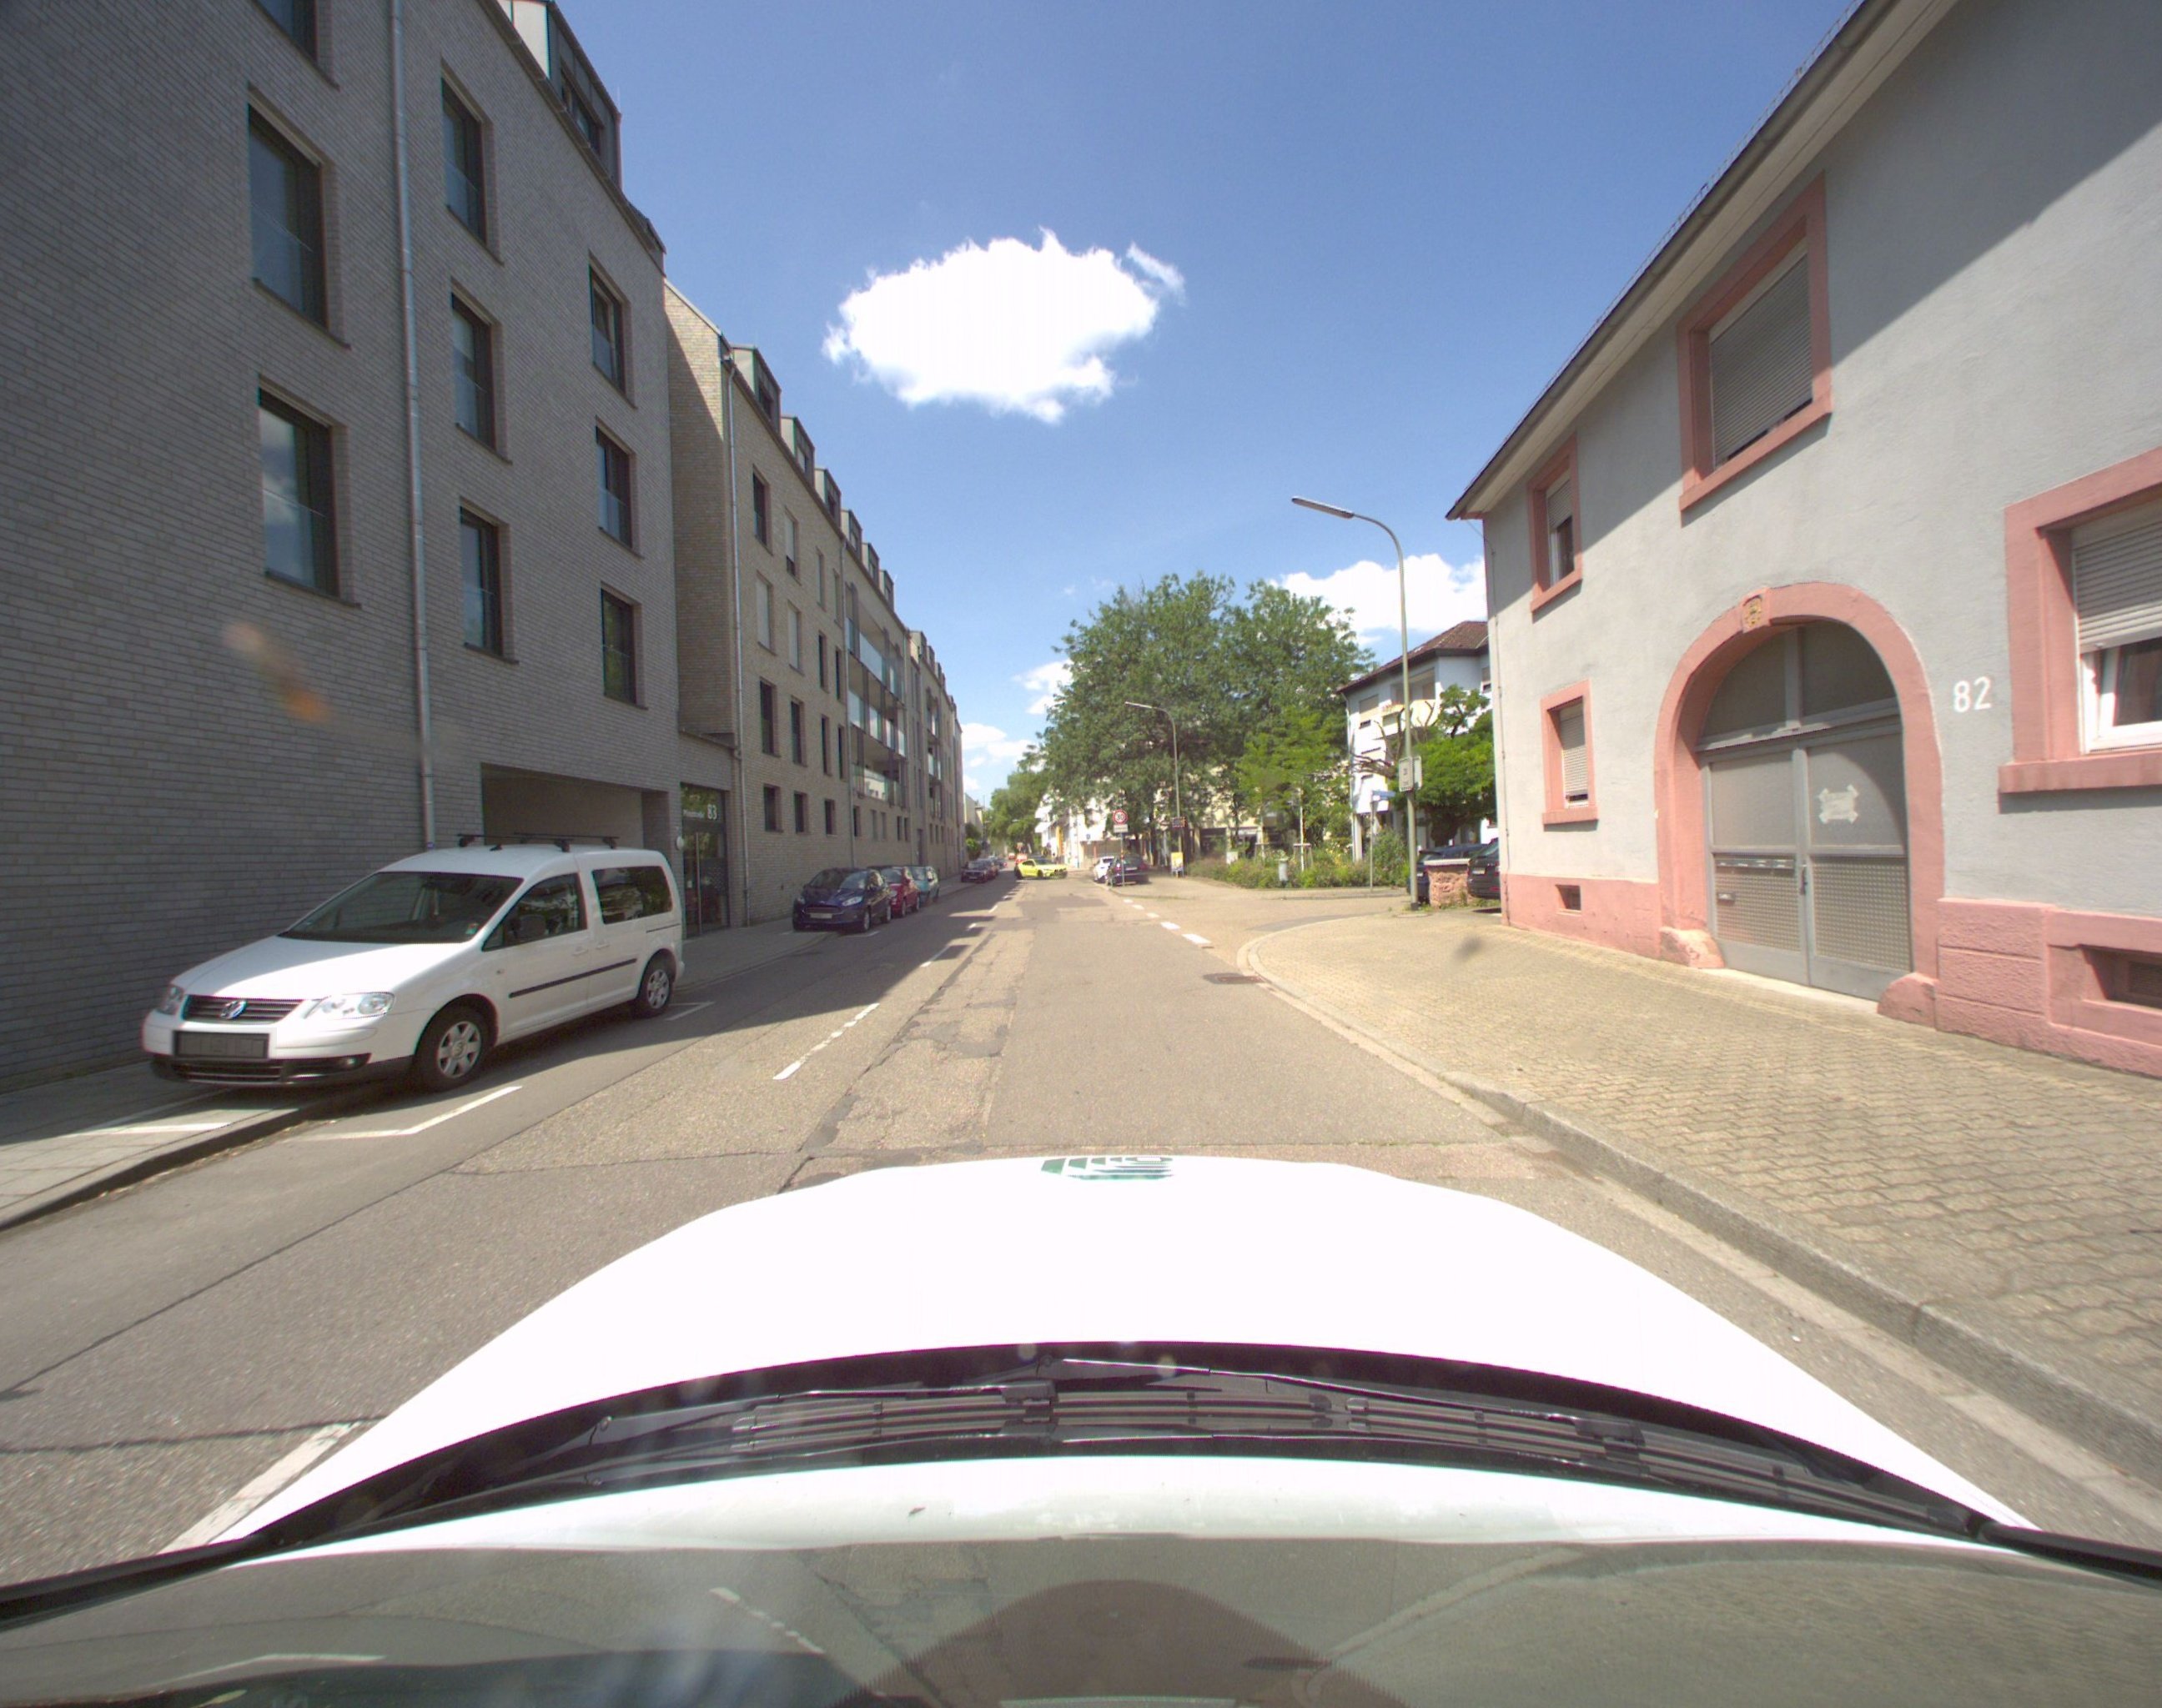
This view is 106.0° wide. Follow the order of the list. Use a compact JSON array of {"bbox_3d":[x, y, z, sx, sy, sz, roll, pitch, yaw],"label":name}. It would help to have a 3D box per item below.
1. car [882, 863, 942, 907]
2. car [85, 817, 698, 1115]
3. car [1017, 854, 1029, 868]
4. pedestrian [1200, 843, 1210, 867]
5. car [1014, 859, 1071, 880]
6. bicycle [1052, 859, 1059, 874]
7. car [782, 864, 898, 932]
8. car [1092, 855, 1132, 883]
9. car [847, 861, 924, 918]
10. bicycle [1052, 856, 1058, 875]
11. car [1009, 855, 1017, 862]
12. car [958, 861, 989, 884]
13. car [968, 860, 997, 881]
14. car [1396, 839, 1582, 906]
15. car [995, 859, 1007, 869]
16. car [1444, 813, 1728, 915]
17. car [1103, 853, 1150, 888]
[{"bbox_3d":[-6.143,1.096,29.986,1.587,1.456,3.699,0,0,-3],"label":"car"},{"bbox_3d":[-5.422,0.707,7.367,1.750,1.892,4.338,0,0,2],"label":"car"},{"bbox_3d":[-8.841,1.050,124.387,1.835,2.013,3.995,-2,0,-3],"label":"car"},{"bbox_3d":[9.617,0.085,63.033,0.590,1.859,0.606,-2,0,18],"label":"pedestrian"},{"bbox_3d":[-2.668,1.024,55.258,2.007,1.381,4.348,0,0,-32],"label":"car"},{"bbox_3d":[-2.052,0.982,64.383,0.482,1.114,1.194,-2,0,-3],"label":"bicycle"},{"bbox_3d":[-5.792,0.987,20.044,1.718,1.456,4.003,-1,0,-1],"label":"car"},{"bbox_3d":[1.666,0.806,44.882,1.775,1.420,3.995,-2,0,-3],"label":"car"},{"bbox_3d":[-5.890,1.031,24.860,1.587,1.554,3.567,-2,0,-3],"label":"car"},{"bbox_3d":[-2.054,0.908,64.400,0.476,1.490,0.575,-2,-1,-4],"label":"bicycle"},{"bbox_3d":[-19.697,1.253,234.602,2.154,2.013,3.992,-2,0,-6],"label":"car"},{"bbox_3d":[-7.207,1.209,55.022,1.728,1.442,3.995,-2,0,-3],"label":"car"},{"bbox_3d":[-7.230,1.190,60.116,1.728,1.442,3.995,-2,0,-3],"label":"car"},{"bbox_3d":[9.685,0.442,19.525,3.590,1.449,1.740,-1,-1,-4],"label":"car"},{"bbox_3d":[-13.784,1.692,140.983,1.990,1.519,3.993,-3,0,-5],"label":"car"},{"bbox_3d":[9.470,0.203,15.532,4.253,1.530,1.742,-4,-2,0],"label":"car"},{"bbox_3d":[2.065,0.725,38.062,1.689,1.420,3.995,-5,0,-3],"label":"car"}]
